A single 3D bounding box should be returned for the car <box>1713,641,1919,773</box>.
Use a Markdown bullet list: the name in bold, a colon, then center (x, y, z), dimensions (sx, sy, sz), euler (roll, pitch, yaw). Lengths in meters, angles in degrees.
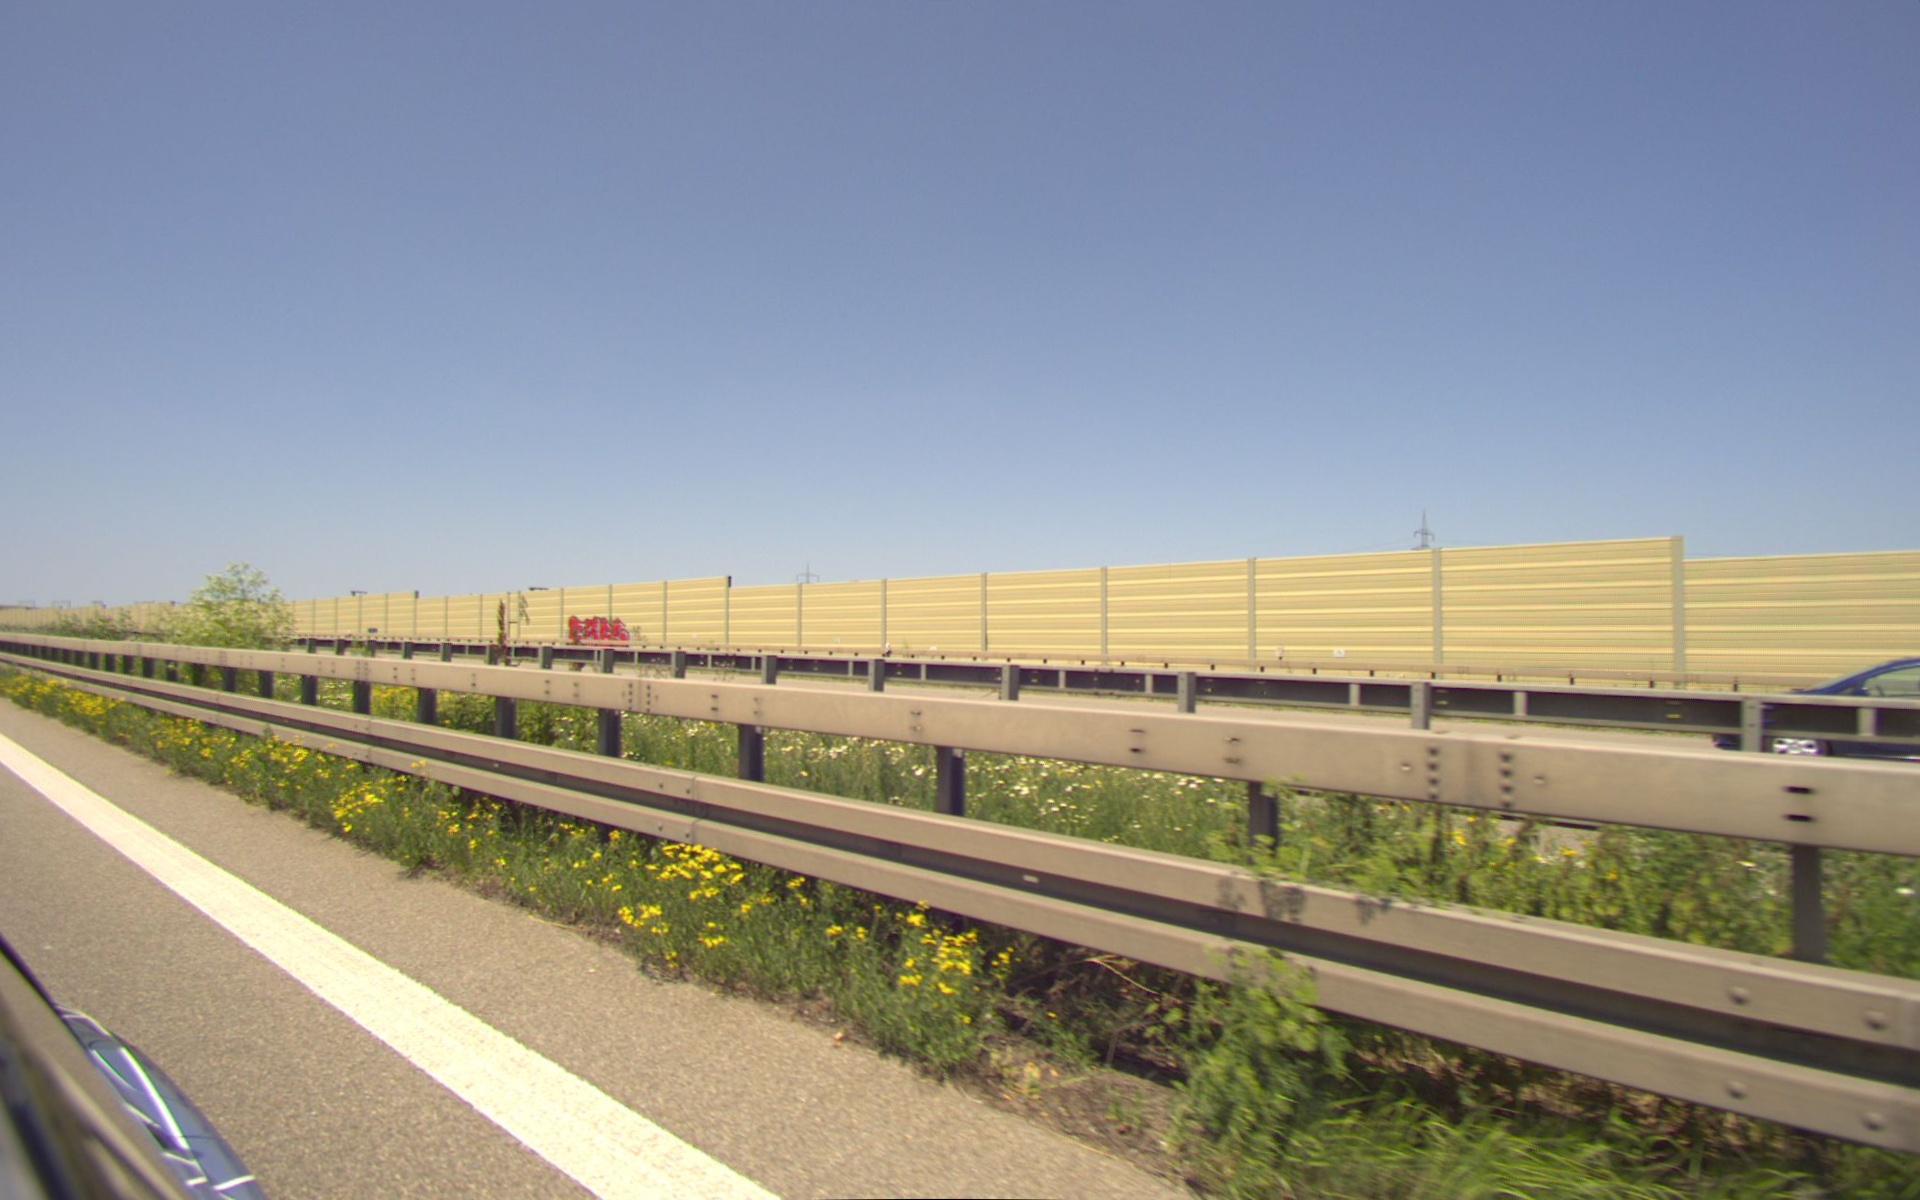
- **car**: center (11.763, 1.259, 11.957), dimensions (4.482, 1.420, 1.700), euler (-1, 0, 41)
